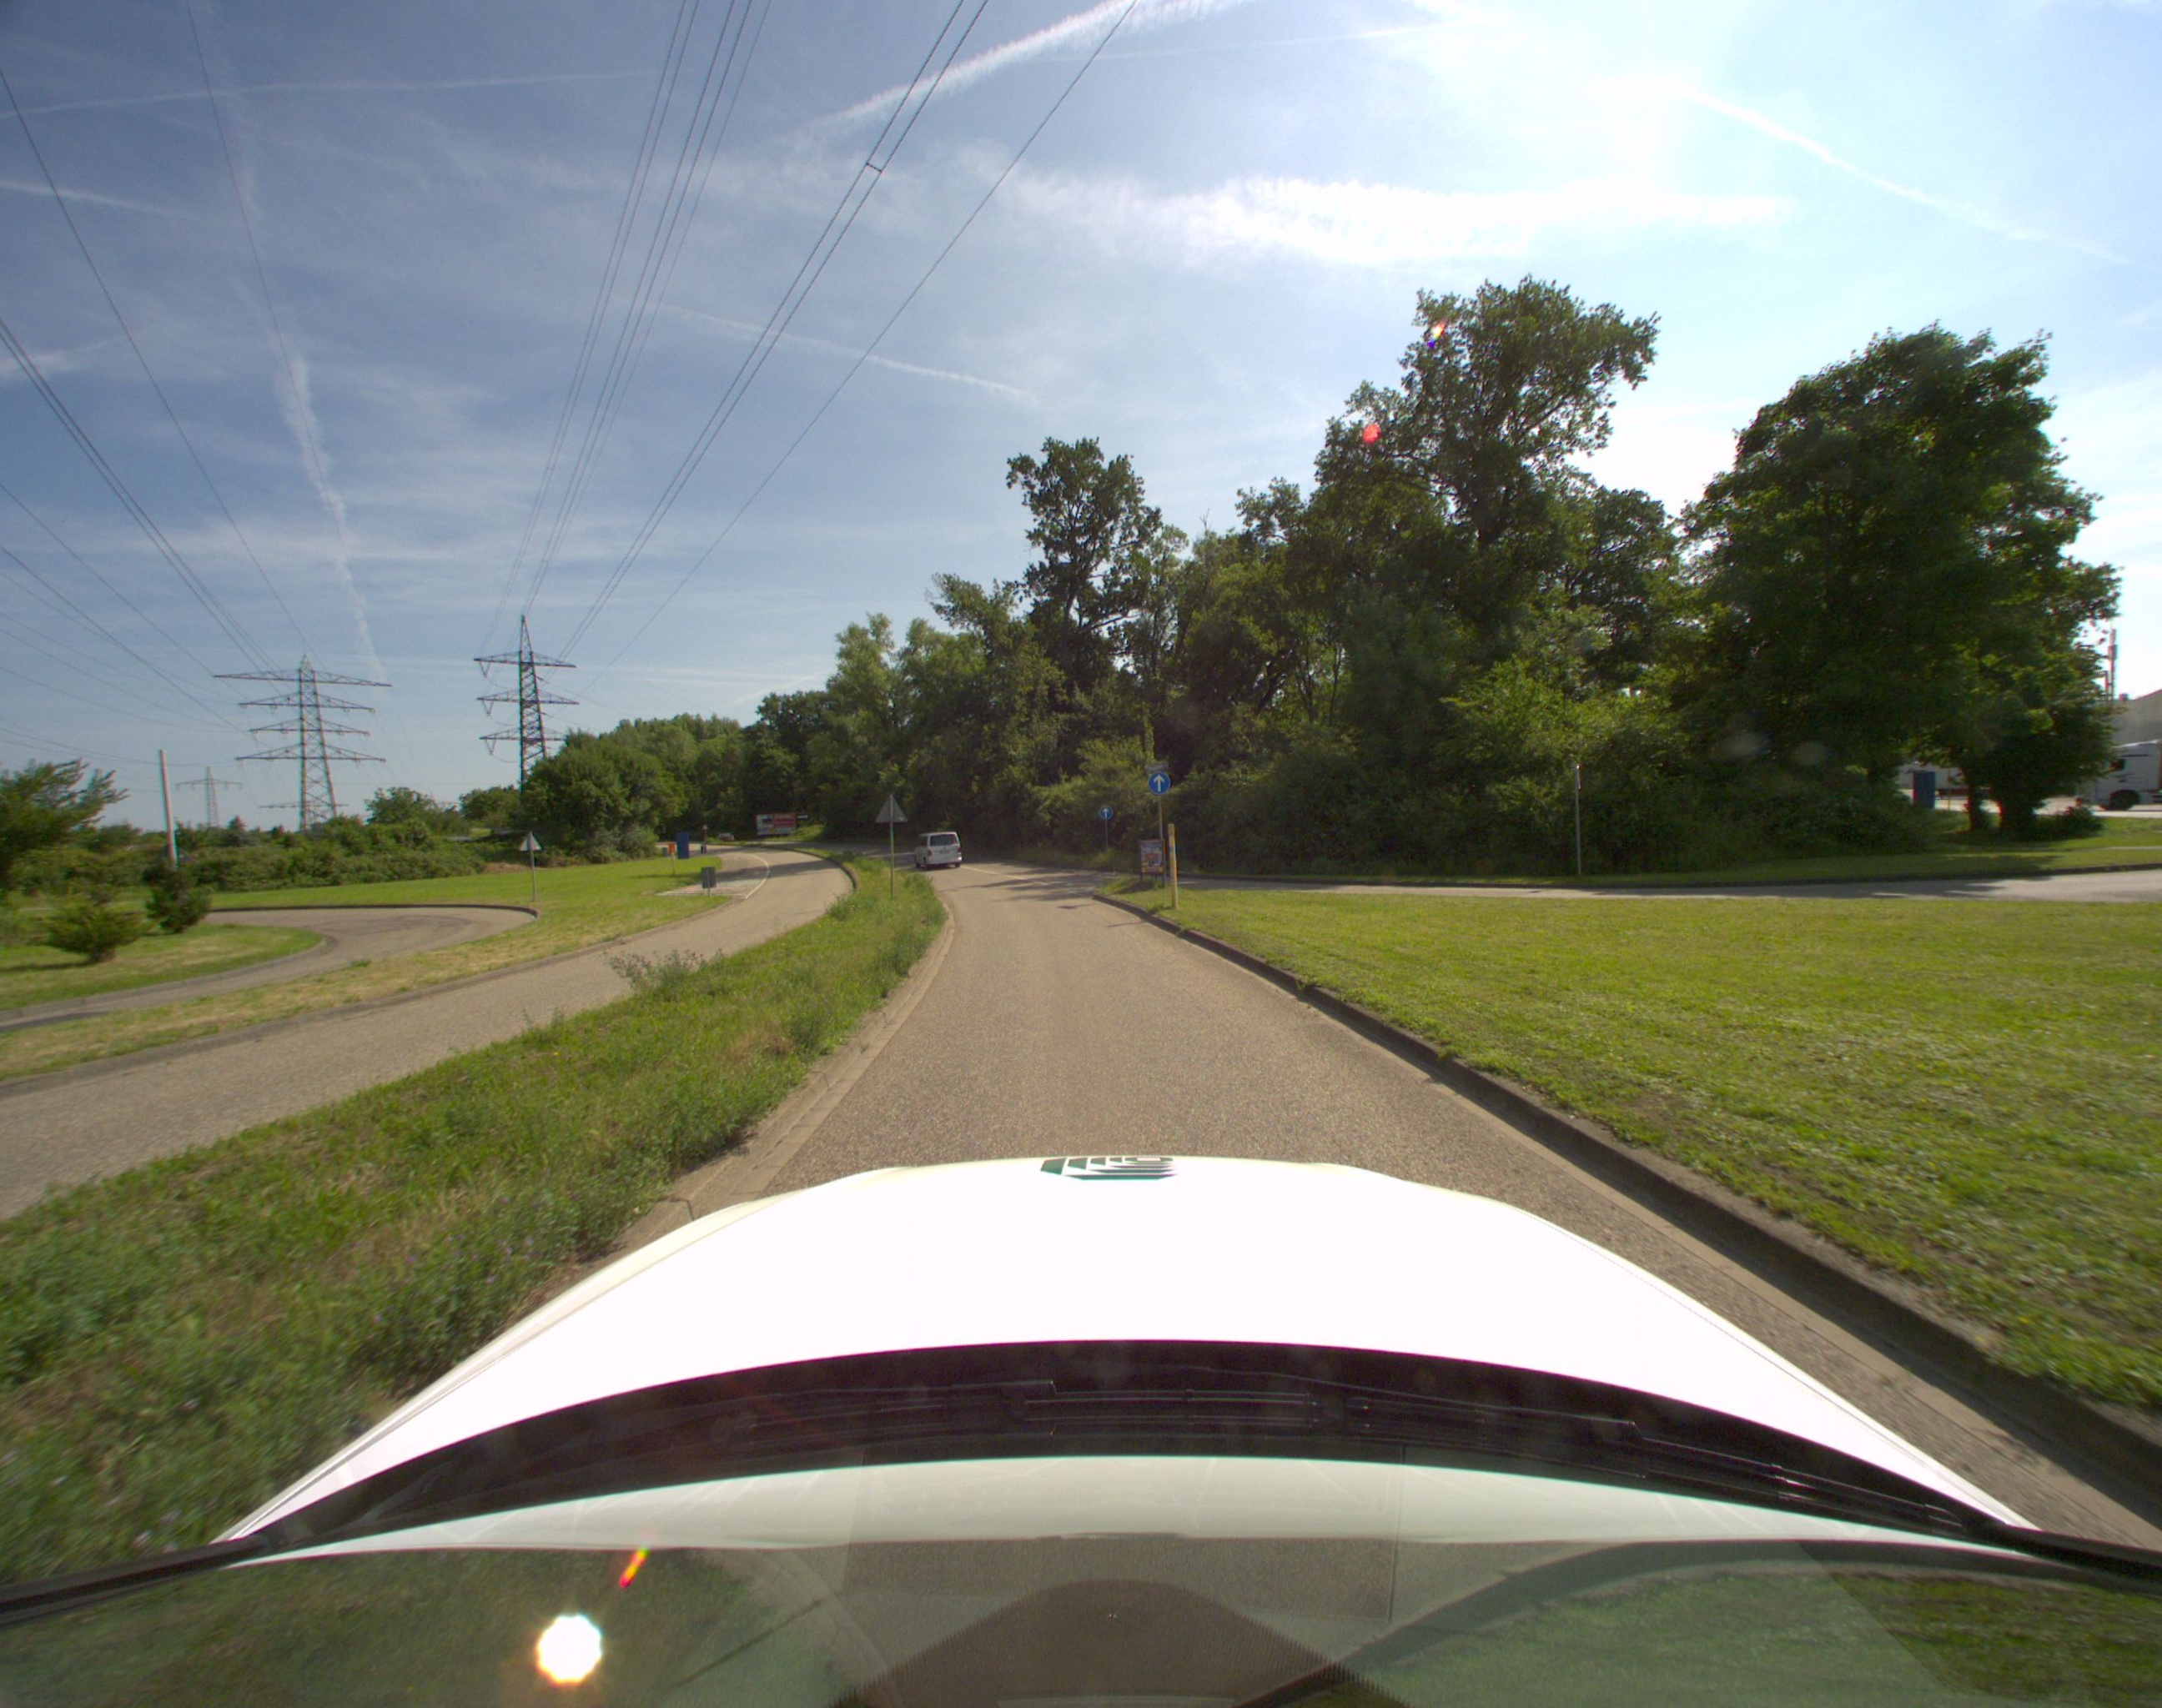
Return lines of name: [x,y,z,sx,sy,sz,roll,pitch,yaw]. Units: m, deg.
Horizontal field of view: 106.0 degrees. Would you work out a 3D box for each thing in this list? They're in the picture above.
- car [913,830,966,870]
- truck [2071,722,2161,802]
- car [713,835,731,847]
car: [-7.886,-0.227,45.069,2.047,2.013,3.971,-3,1,-21]
truck: [63.245,-5.442,47.507,6.484,4.415,3.780,0,4,43]
car: [-54.196,-1.969,122.945,1.660,1.566,3.616,-5,4,-38]
